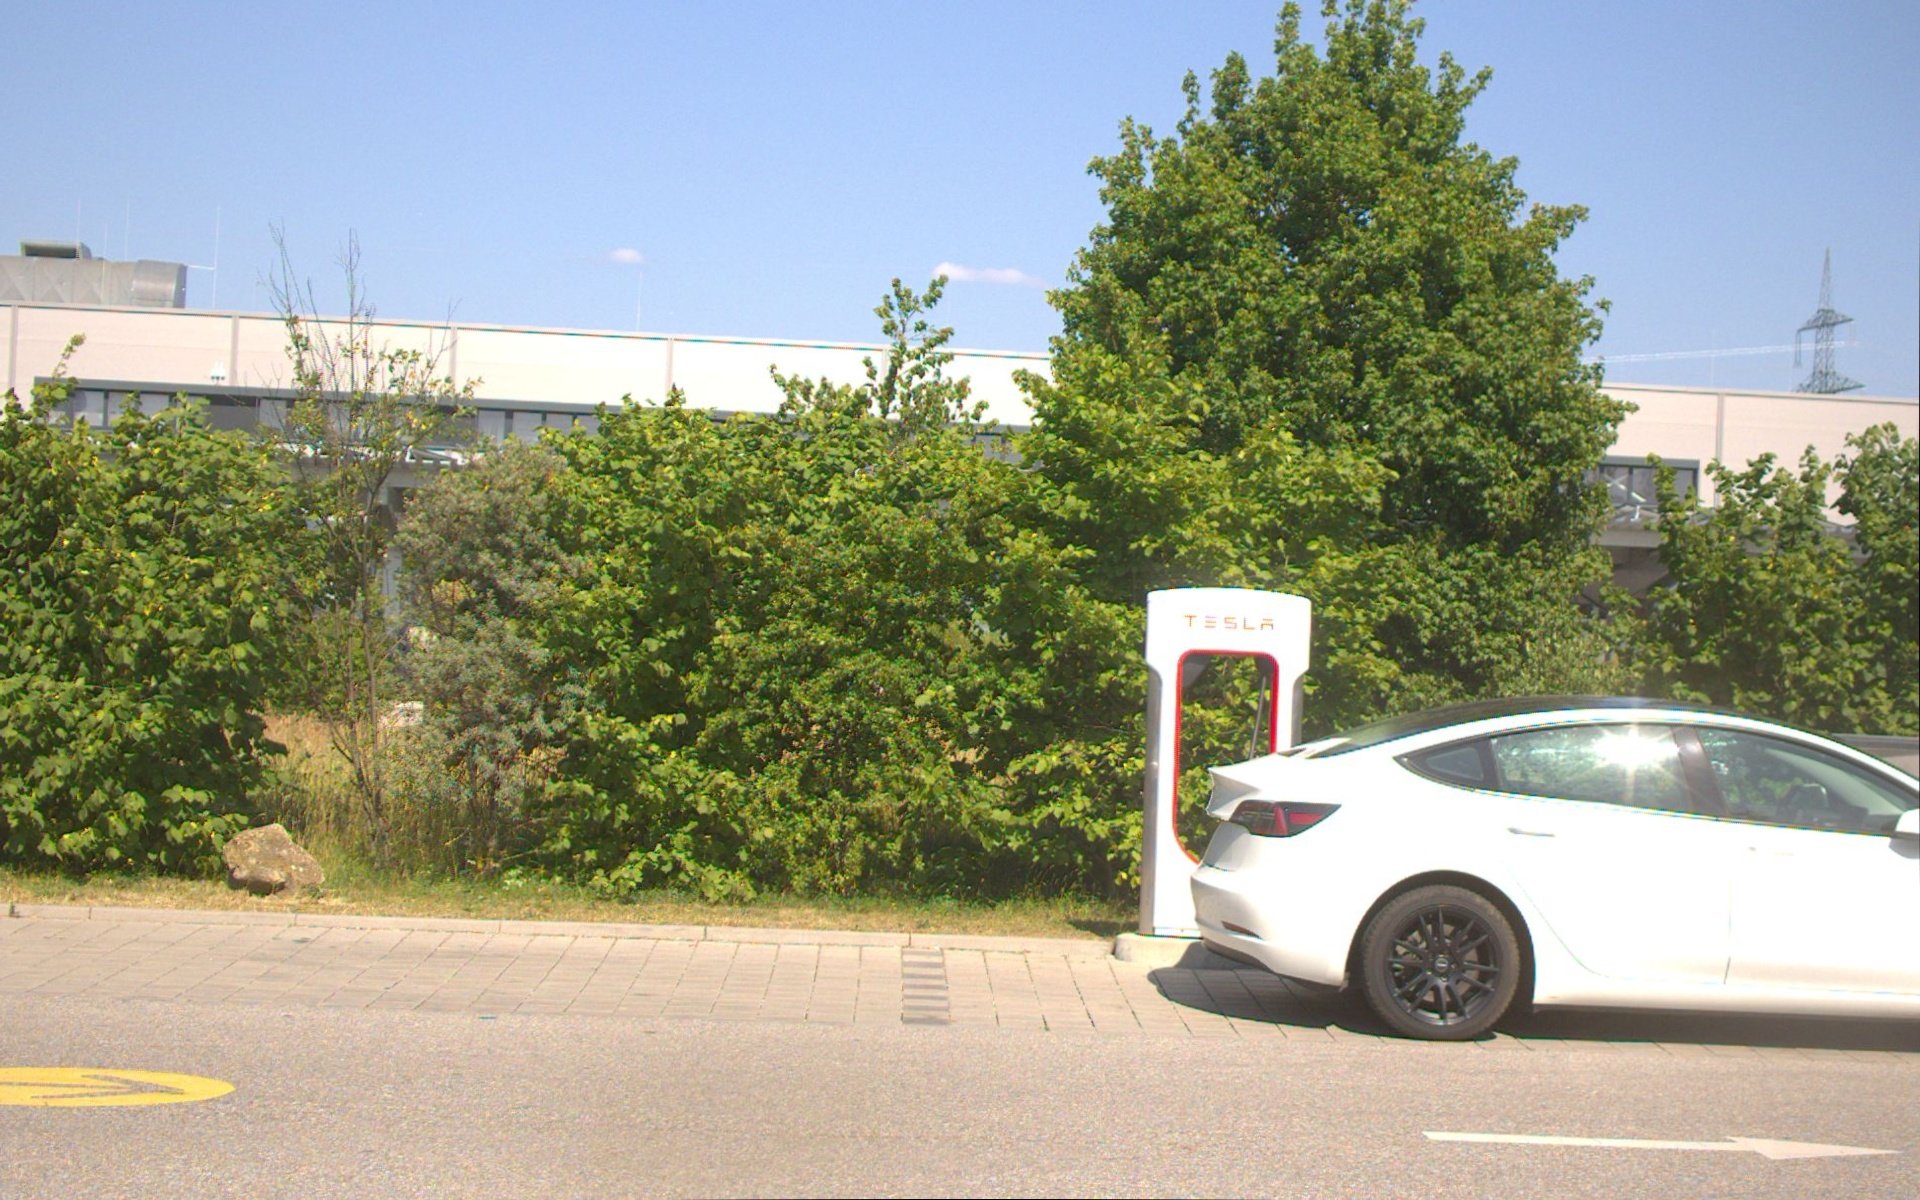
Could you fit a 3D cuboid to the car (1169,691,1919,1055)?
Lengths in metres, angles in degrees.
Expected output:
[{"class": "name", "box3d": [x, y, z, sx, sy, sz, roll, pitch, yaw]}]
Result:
[{"class": "car", "box3d": [3.249, 1.180, 15.096, 4.433, 1.373, 1.822, 2, -1, -3]}]
